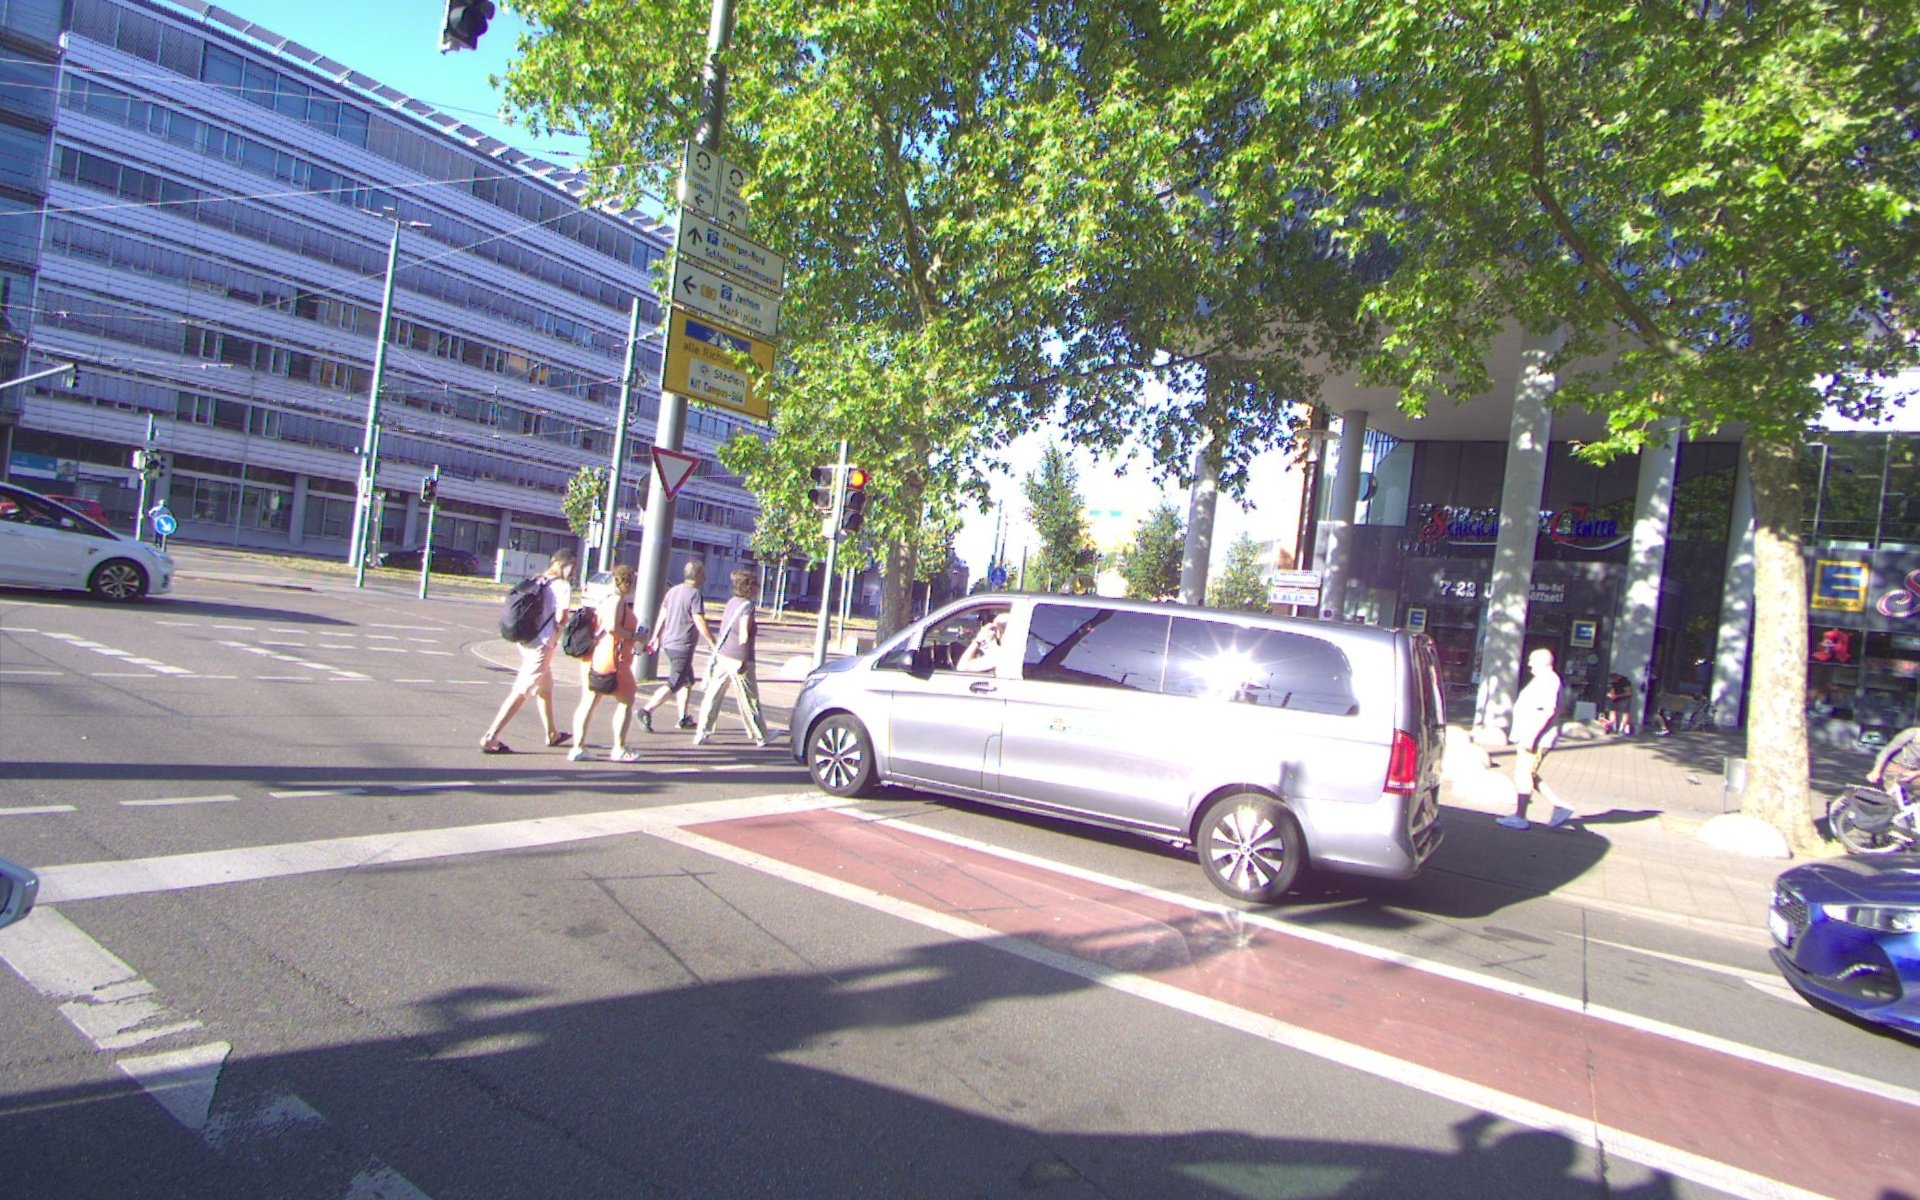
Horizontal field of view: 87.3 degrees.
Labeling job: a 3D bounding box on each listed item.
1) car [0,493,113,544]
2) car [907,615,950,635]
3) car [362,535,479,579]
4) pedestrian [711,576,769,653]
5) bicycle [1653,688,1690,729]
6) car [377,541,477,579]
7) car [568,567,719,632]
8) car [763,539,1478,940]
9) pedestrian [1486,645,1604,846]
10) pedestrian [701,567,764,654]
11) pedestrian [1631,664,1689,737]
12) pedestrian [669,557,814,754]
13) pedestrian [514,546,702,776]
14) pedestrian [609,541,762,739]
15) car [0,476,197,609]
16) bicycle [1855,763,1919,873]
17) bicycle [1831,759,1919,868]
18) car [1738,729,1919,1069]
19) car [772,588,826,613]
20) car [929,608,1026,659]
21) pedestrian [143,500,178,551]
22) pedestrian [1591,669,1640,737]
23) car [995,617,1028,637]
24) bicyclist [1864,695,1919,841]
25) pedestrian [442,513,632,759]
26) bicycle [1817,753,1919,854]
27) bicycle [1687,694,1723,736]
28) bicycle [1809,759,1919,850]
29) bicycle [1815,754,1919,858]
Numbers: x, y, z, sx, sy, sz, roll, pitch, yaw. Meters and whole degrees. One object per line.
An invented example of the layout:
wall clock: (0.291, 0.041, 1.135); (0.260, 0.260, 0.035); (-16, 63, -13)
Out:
car: (-35.372, -3.160, 38.897); (1.766, 1.484, 3.600); (7, 0, 32)
car: (-2.765, 2.216, 88.460); (1.731, 1.415, 3.990); (7, 0, 33)
car: (-24.292, -1.915, 45.439); (1.768, 1.409, 4.241); (7, 0, 36)
pedestrian: (-5.325, 0.356, 24.332); (0.855, 1.701, 0.845); (7, -1, 39)
bicycle: (21.848, 3.325, 30.864); (0.709, 1.142, 1.912); (7, 0, 39)
car: (-27.182, -2.008, 51.409); (1.945, 1.364, 3.989); (7, 0, 34)
car: (-9.304, 0.020, 29.841); (1.795, 1.451, 3.913); (7, -1, 32)
car: (1.102, 0.822, 7.999); (5.053, 1.988, 1.997); (7, -2, 32)
pedestrian: (5.836, 1.408, 10.044); (0.795, 1.808, 0.873); (7, 1, 31)
pedestrian: (-5.200, 0.242, 23.028); (0.855, 1.841, 0.845); (7, -1, 39)
pedestrian: (19.462, 2.783, 27.972); (0.990, 1.867, 0.844); (6, 1, -33)
pedestrian: (-2.201, 0.567, 10.240); (0.744, 1.827, 1.075); (7, -1, 25)
pedestrian: (-2.871, 0.500, 8.298); (0.744, 1.701, 1.076); (7, -1, 25)
pedestrian: (-2.890, 0.438, 10.689); (0.818, 1.916, 1.149); (7, -1, 25)
car: (-14.633, -0.995, 14.887); (1.966, 1.748, 4.844); (7, -1, 29)
bicycle: (10.455, 2.373, 10.467); (1.545, 1.038, 0.461); (7, 1, 29)
bicycle: (10.694, 2.417, 11.048); (1.545, 1.038, 0.461); (7, 1, 29)
car: (6.450, 1.715, 4.688); (4.147, 1.482, 1.767); (7, 0, 32)
car: (-12.307, 0.058, 77.230); (1.731, 1.415, 3.990); (7, 0, 33)
car: (0.763, 1.352, 39.754); (1.794, 1.602, 4.491); (7, -1, 29)
pedestrian: (-28.604, -2.658, 35.979); (0.549, 1.701, 0.719); (7, -1, 39)
pedestrian: (17.481, 2.729, 26.858); (0.851, 1.662, 0.967); (7, 1, 28)
car: (5.069, 2.652, 97.788); (1.728, 1.631, 3.997); (7, 0, 24)
bicyclist: (12.540, 2.199, 13.068); (0.744, 1.790, 0.845); (6, 1, -30)
pedestrian: (-3.562, 0.314, 8.544); (0.725, 1.893, 1.076); (7, -1, 25)
bicycle: (11.506, 2.527, 12.398); (0.393, 1.038, 1.305); (6, 1, -42)
bicycle: (22.507, 3.459, 30.385); (0.709, 1.142, 1.912); (7, 0, 39)
bicycle: (12.498, 2.744, 13.006); (0.661, 0.945, 2.167); (7, 0, -30)
bicycle: (11.174, 2.486, 12.041); (0.393, 1.038, 1.305); (6, 1, -42)
